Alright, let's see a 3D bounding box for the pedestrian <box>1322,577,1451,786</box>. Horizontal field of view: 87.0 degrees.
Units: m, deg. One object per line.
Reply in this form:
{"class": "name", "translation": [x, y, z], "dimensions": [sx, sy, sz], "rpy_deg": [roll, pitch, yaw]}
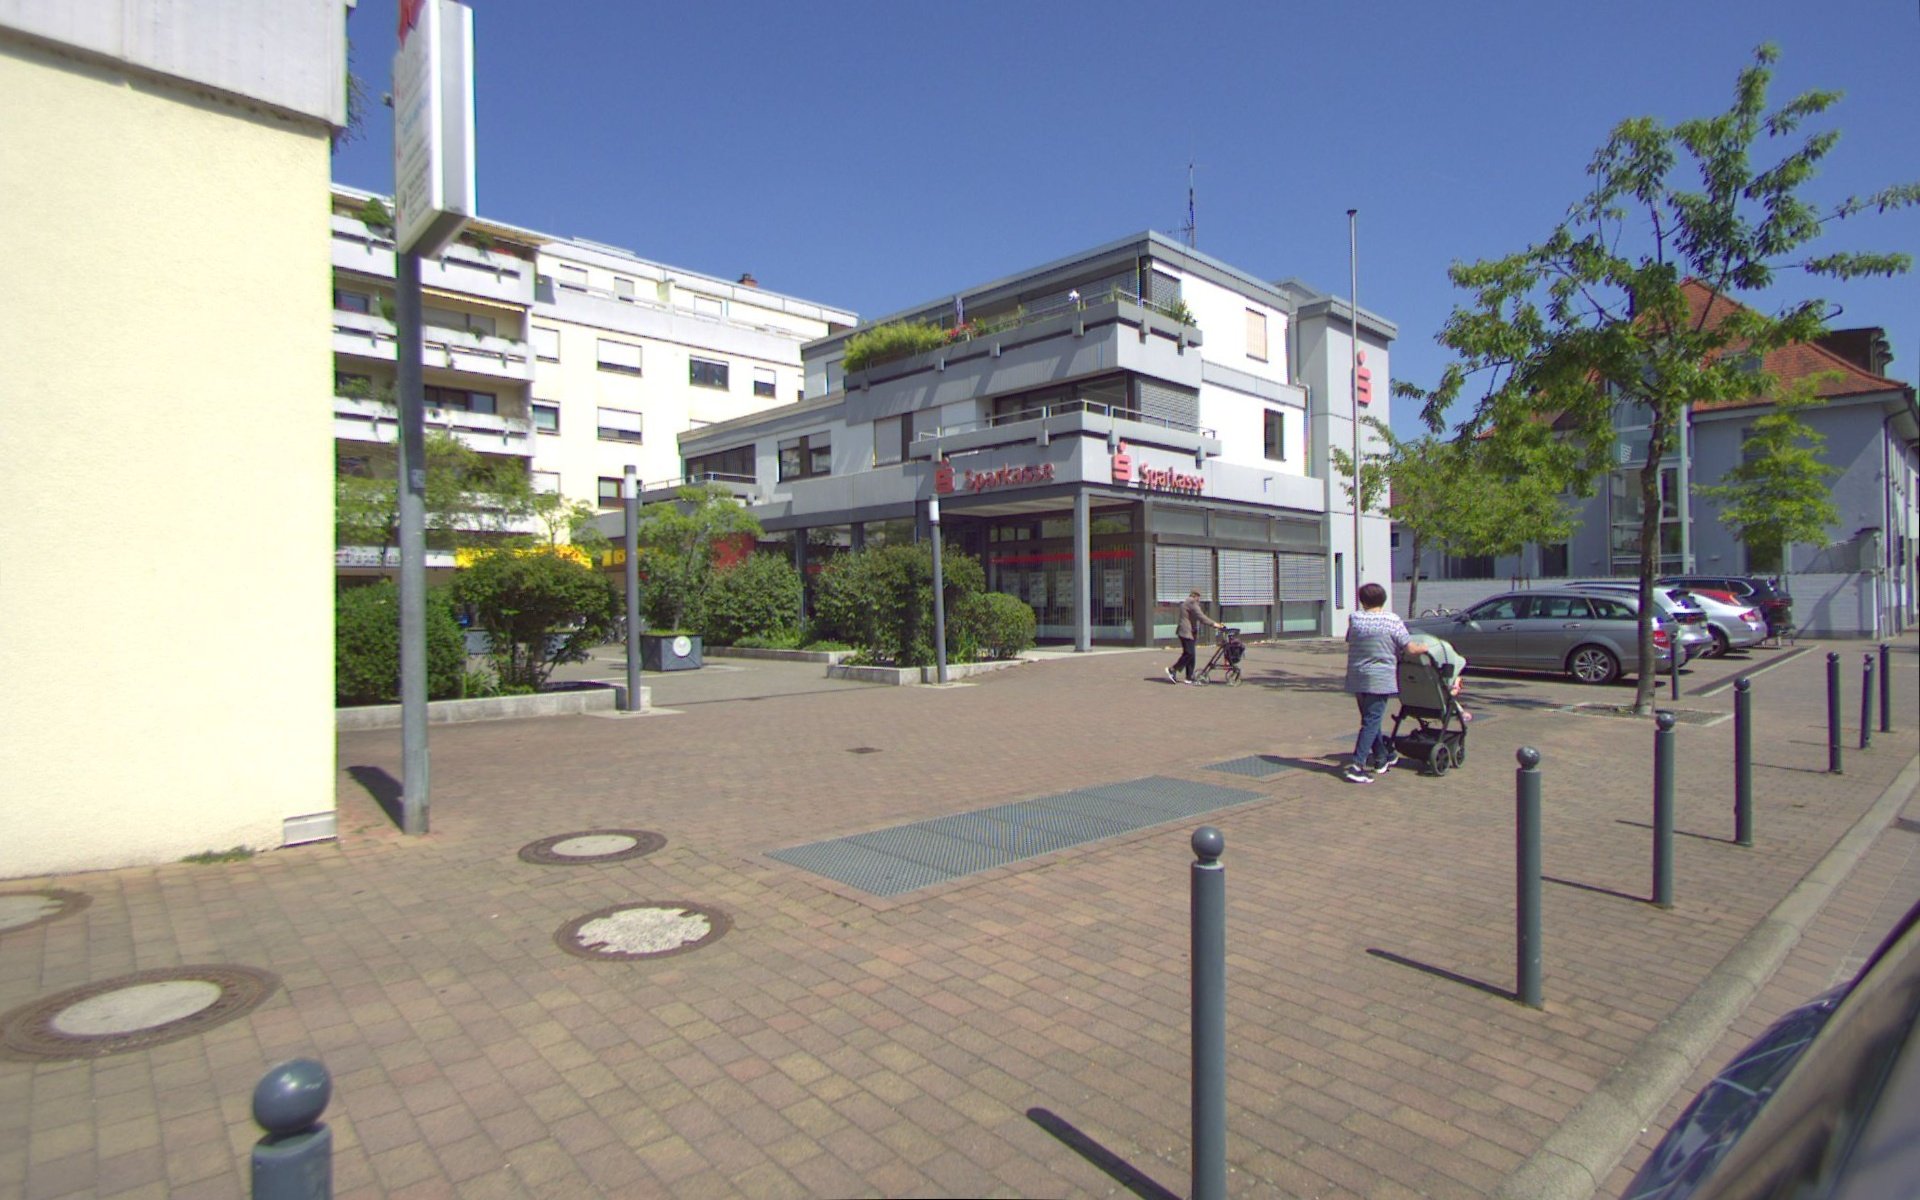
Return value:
{"class": "pedestrian", "translation": [3.359, 0.588, 7.949], "dimensions": [1.030, 1.535, 0.512], "rpy_deg": [0, 1, -41]}

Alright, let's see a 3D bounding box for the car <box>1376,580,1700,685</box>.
{"class": "car", "translation": [9.457, 0.433, 16.818], "dimensions": [4.432, 1.484, 1.664], "rpy_deg": [2, 2, 44]}

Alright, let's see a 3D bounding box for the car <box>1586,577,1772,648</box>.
{"class": "car", "translation": [17.056, 0.258, 24.088], "dimensions": [3.421, 1.571, 1.467], "rpy_deg": [0, 0, 45]}

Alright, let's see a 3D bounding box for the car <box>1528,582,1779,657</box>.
{"class": "car", "translation": [15.229, 0.352, 22.390], "dimensions": [4.429, 1.460, 1.632], "rpy_deg": [1, 1, 42]}

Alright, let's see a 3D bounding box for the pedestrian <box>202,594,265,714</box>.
{"class": "pedestrian", "translation": [-9.398, 0.671, 13.092], "dimensions": [0.594, 1.482, 0.794], "rpy_deg": [0, 0, -40]}

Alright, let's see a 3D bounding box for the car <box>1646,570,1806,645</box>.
{"class": "car", "translation": [18.962, 0.142, 25.099], "dimensions": [3.032, 1.759, 1.324], "rpy_deg": [1, 1, 44]}

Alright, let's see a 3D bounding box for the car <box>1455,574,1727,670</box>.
{"class": "car", "translation": [11.556, 0.323, 18.700], "dimensions": [4.033, 1.579, 1.686], "rpy_deg": [1, 1, 43]}

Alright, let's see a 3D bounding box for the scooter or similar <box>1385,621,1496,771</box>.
{"class": "scooter or similar", "translation": [3.999, 0.763, 8.406], "dimensions": [0.893, 1.132, 0.505], "rpy_deg": [0, 1, -41]}

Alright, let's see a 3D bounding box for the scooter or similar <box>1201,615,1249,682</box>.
{"class": "scooter or similar", "translation": [3.969, 0.719, 15.181], "dimensions": [0.536, 0.958, 0.537], "rpy_deg": [0, 0, -5]}

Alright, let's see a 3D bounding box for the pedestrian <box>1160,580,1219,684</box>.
{"class": "pedestrian", "translation": [3.421, 0.463, 15.121], "dimensions": [0.709, 1.520, 0.532], "rpy_deg": [0, 0, -6]}
